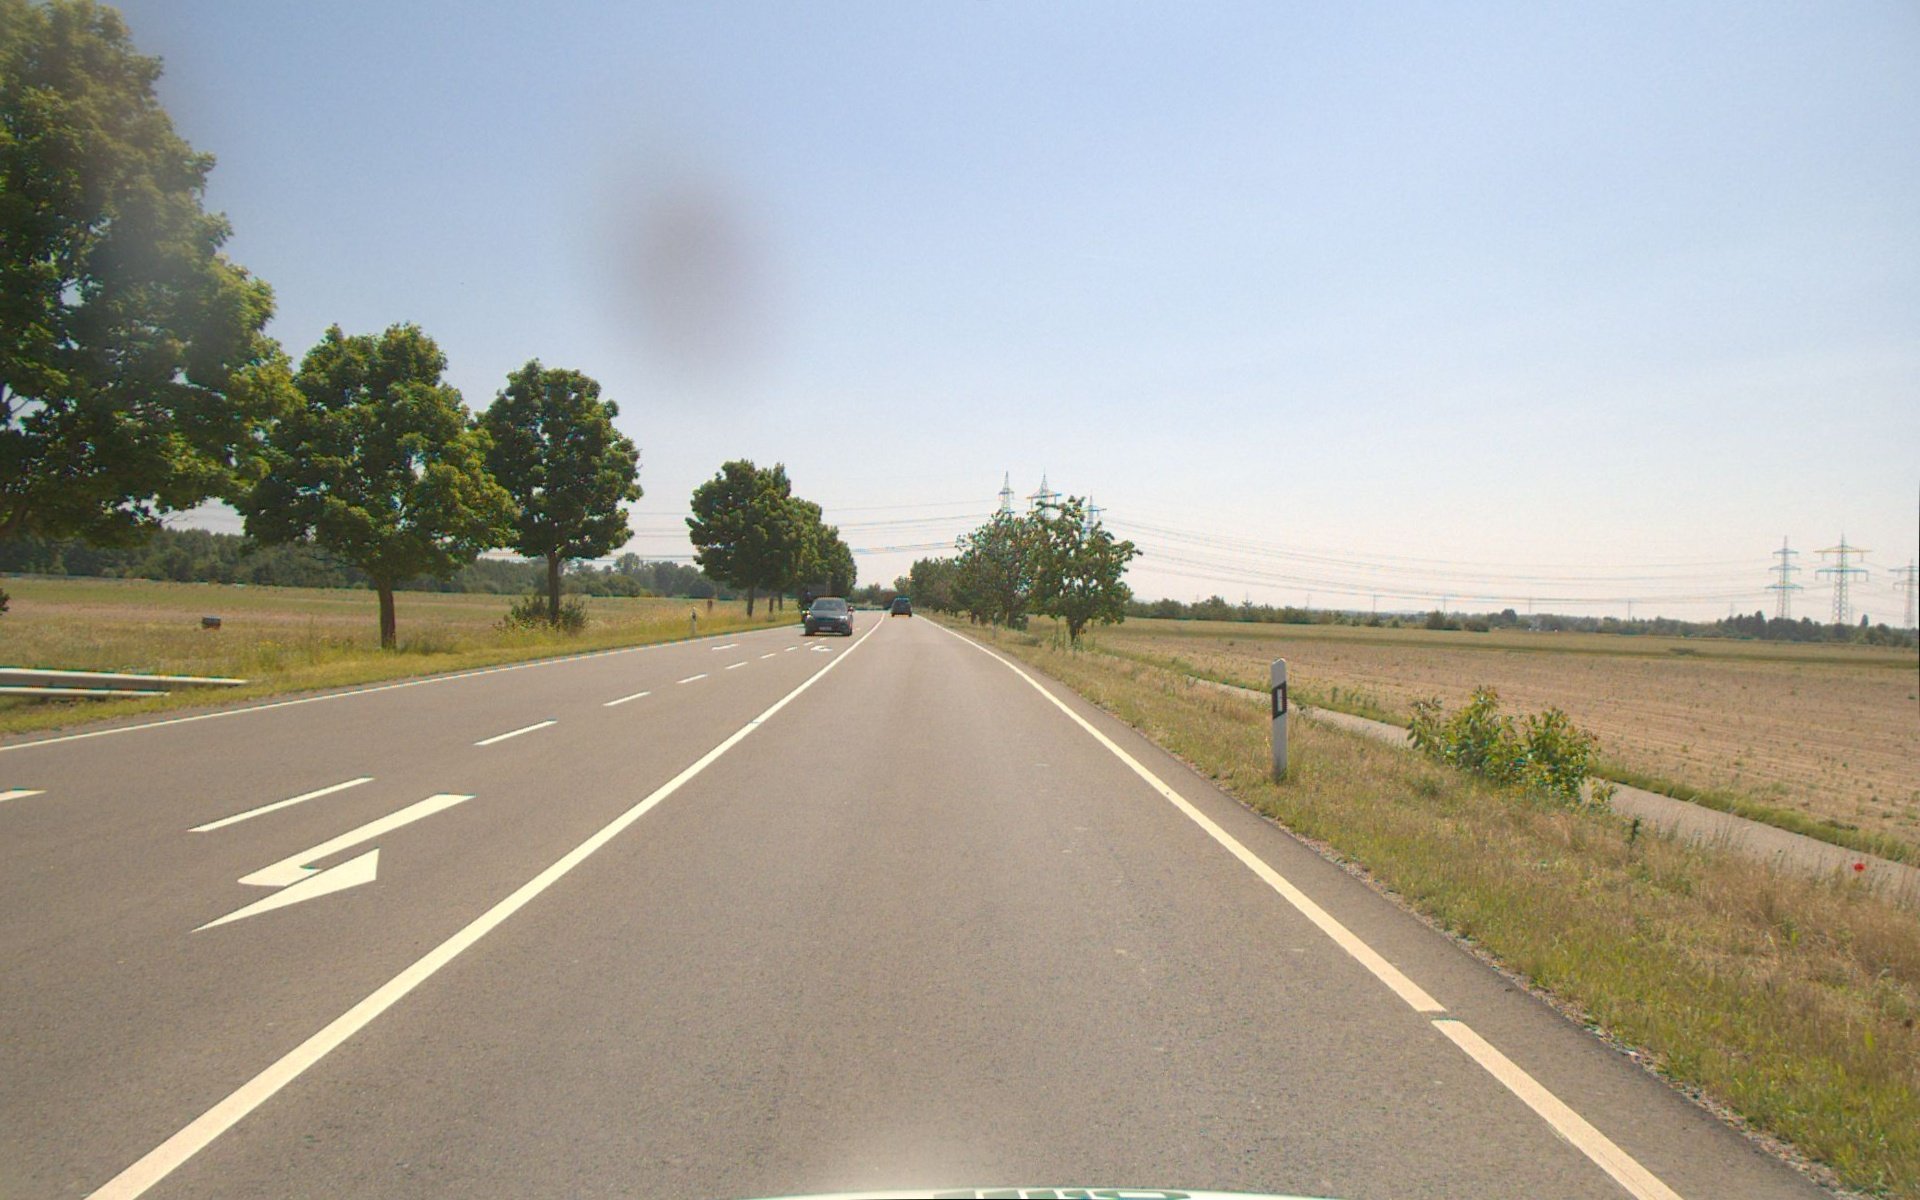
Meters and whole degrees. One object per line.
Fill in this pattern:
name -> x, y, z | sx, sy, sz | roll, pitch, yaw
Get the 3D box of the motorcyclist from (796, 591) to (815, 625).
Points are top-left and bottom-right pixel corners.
motorcyclist -> -7.993, 0.424, 85.750 | 0.836, 1.751, 1.088 | 1, 0, 0

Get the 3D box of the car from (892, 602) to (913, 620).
car -> -5.324, 0.998, 153.016 | 1.847, 1.544, 4.037 | 4, 0, -3

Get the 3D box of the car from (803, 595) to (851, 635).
car -> -5.279, 0.585, 66.071 | 1.704, 1.499, 4.615 | 1, 0, -3

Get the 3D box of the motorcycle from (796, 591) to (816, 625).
motorcycle -> -7.995, 0.412, 85.949 | 0.870, 1.774, 2.444 | 1, 0, -1
